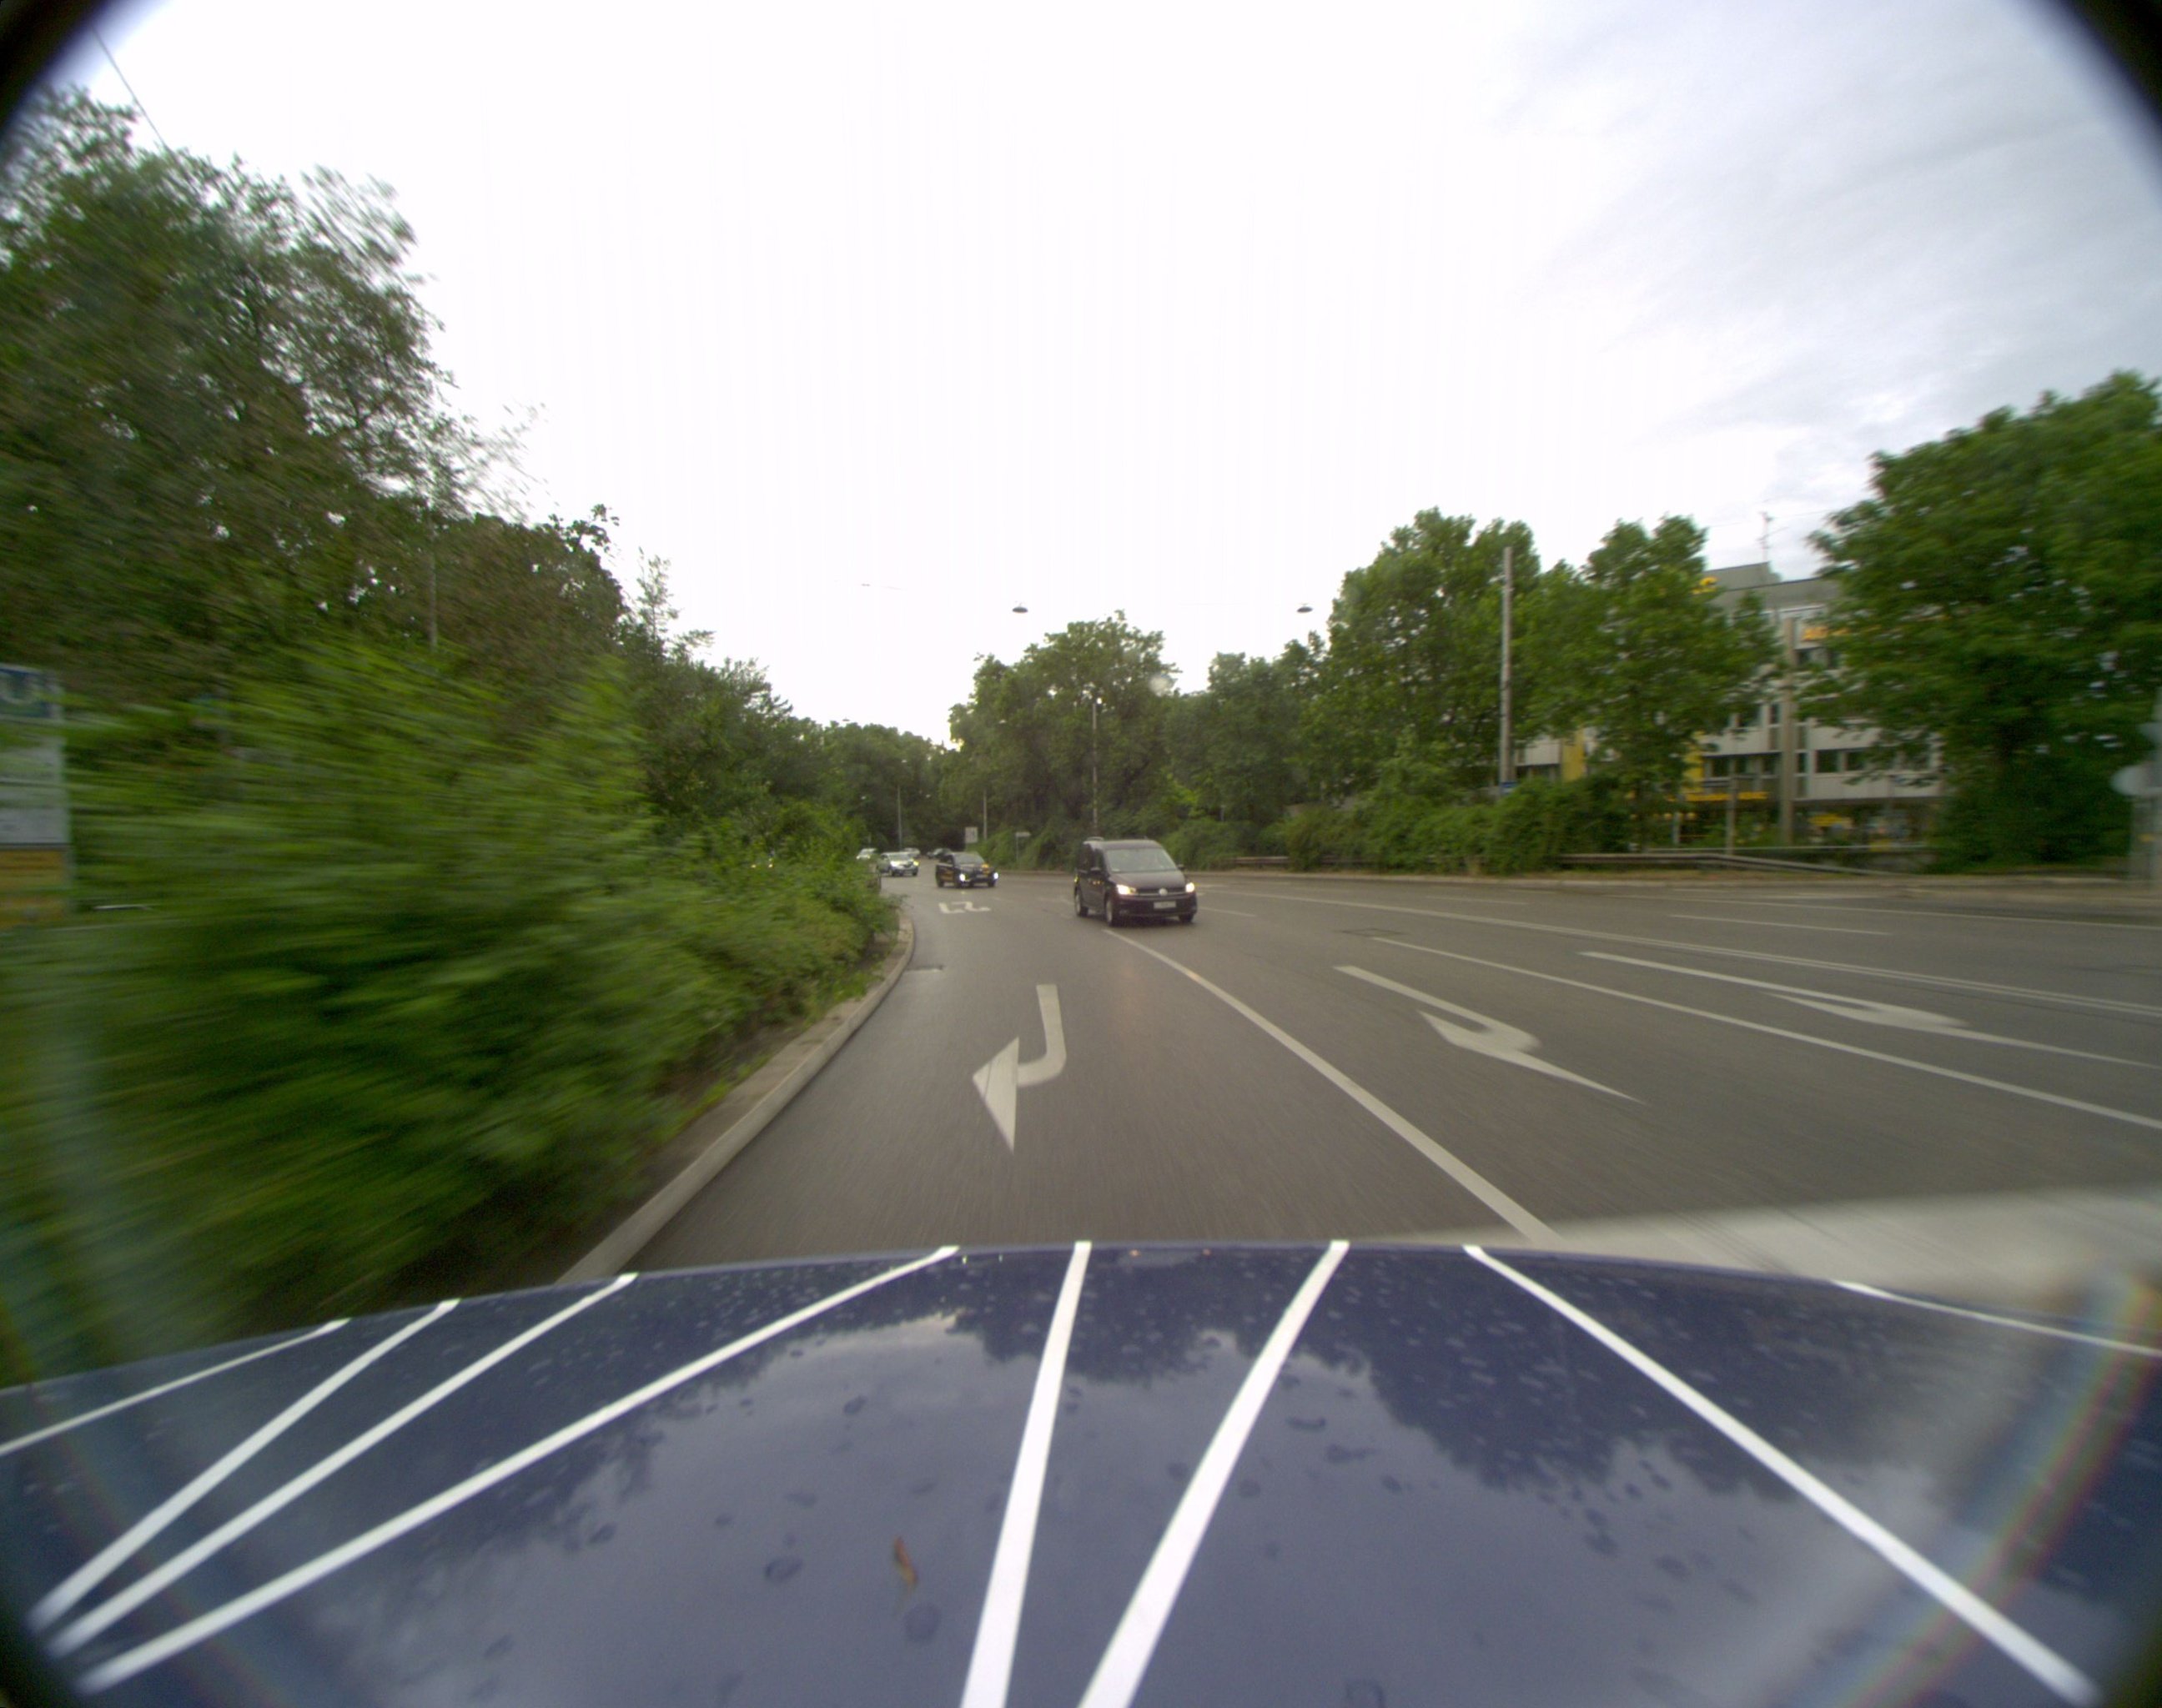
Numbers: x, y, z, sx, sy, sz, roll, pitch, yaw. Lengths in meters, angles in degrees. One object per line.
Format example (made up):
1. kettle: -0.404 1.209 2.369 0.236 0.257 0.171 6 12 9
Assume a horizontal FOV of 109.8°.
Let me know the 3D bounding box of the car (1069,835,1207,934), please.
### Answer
1. car: 1.080 0.569 16.529 1.797 1.789 4.120 -4 1 -12

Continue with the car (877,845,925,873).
1. car: -12.359 0.302 51.967 2.003 1.735 4.643 -2 2 -28

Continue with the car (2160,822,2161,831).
1. car: 167.260 -4.252 116.560 3.684 1.314 1.776 -2 2 -38

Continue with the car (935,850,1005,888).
1. car: -5.118 0.632 34.677 1.934 1.532 3.990 -2 2 -27

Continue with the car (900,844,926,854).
1. car: -25.432 -0.757 115.168 1.653 1.312 4.256 0 2 26

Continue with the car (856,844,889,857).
1. car: -26.443 -0.425 96.565 2.210 1.534 4.507 0 2 13
